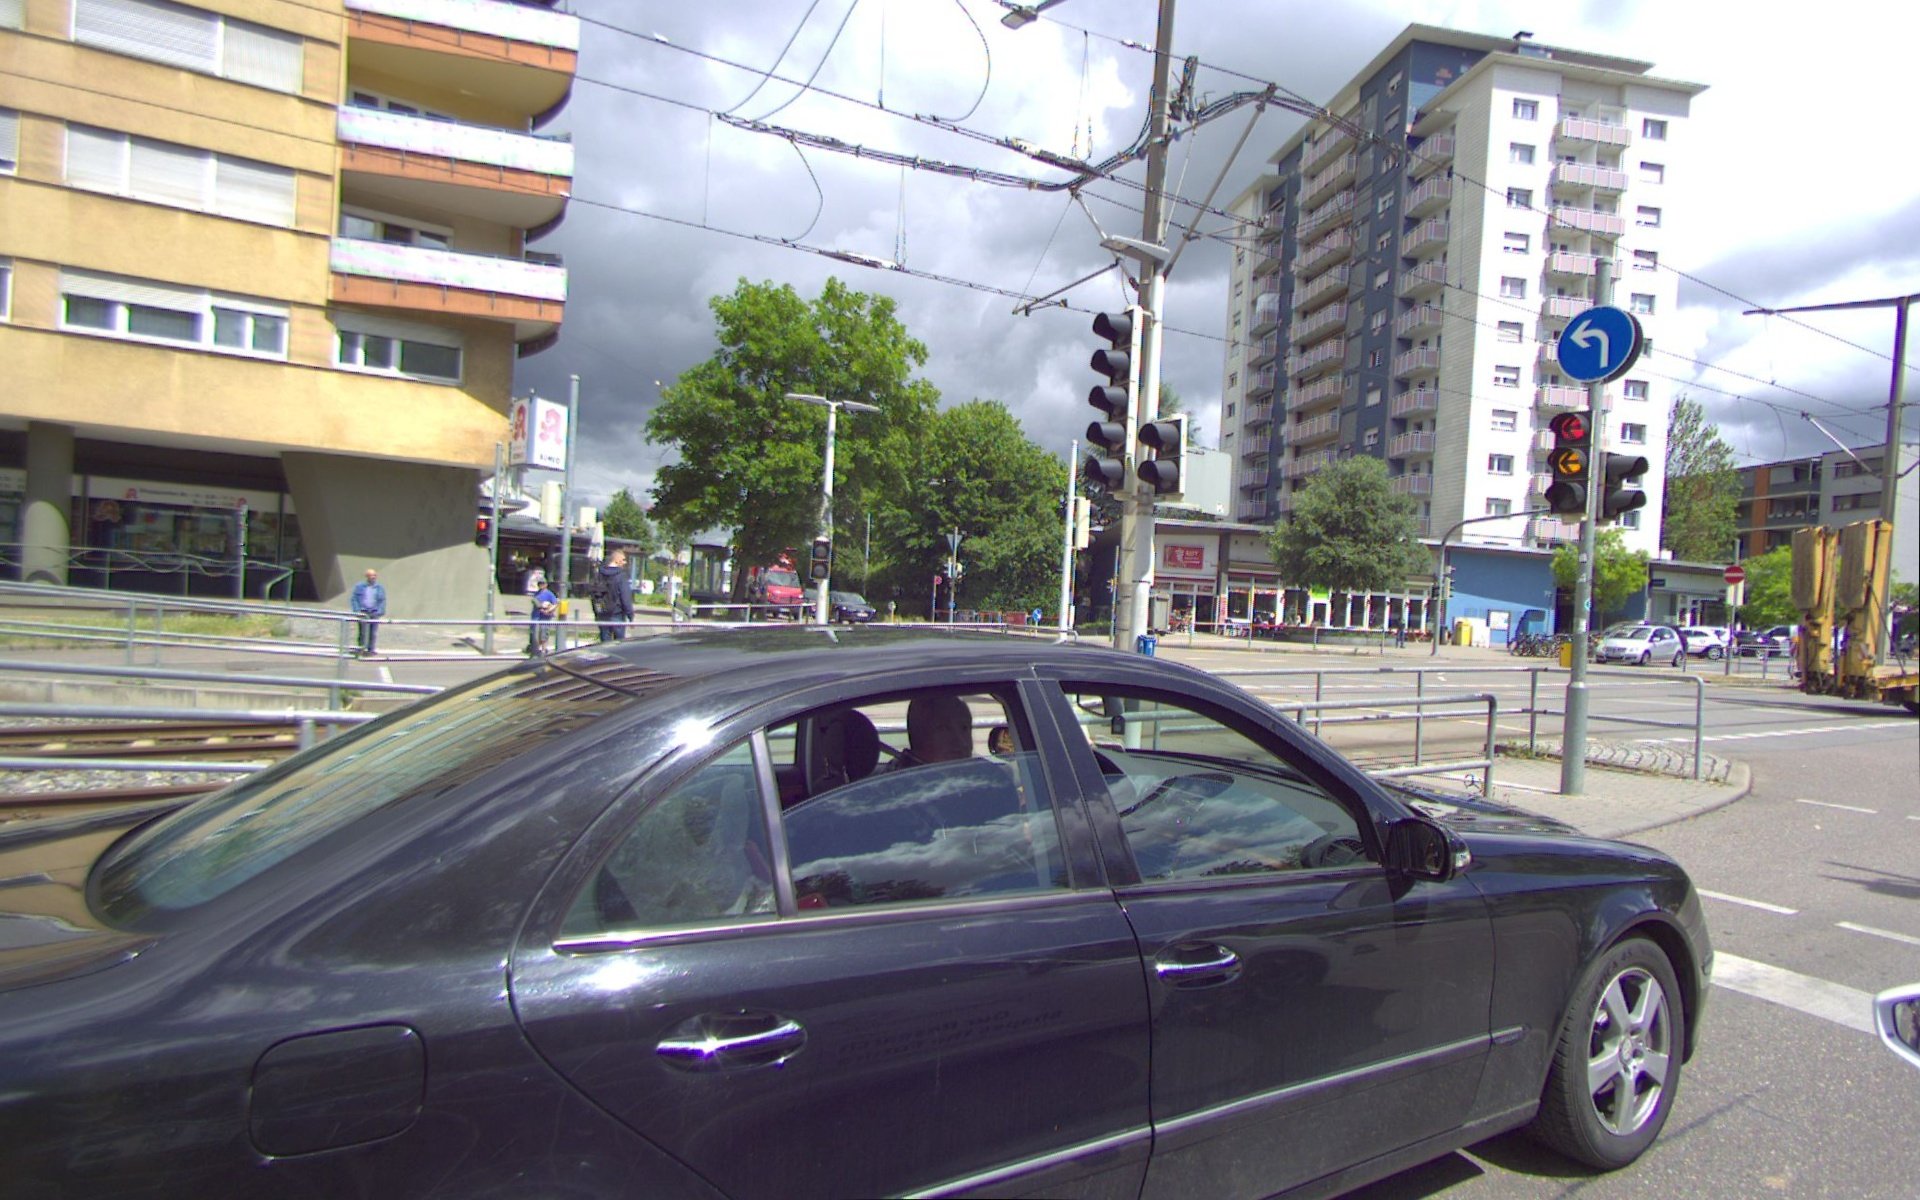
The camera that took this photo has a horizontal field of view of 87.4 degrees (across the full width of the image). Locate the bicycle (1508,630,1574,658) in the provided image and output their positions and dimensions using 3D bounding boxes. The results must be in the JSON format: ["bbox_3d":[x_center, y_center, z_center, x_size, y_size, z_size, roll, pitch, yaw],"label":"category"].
[{"bbox_3d":[24.756,1.871,42.845,0.697,1.080,2.415,2,0,-30],"label":"bicycle"}]

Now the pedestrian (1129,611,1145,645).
[{"bbox_3d":[7.835,1.224,44.551,0.516,1.492,0.572,2,0,-5],"label":"pedestrian"}]

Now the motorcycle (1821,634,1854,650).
[{"bbox_3d":[71.005,3.415,81.277,0.734,1.194,1.880,2,0,-34],"label":"motorcycle"}]

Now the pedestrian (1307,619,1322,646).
[{"bbox_3d":[20.130,1.831,57.082,0.565,1.492,0.522,2,0,-29],"label":"pedestrian"}]

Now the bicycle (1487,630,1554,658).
[{"bbox_3d":[23.424,1.827,42.025,0.697,1.080,2.415,2,0,-30],"label":"bicycle"}]

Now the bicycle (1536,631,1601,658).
[{"bbox_3d":[26.724,1.936,44.162,0.697,1.080,2.415,2,0,-30],"label":"bicycle"}]

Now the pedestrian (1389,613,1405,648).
[{"bbox_3d":[20.948,1.476,48.124,0.594,1.665,0.414,2,0,-34],"label":"pedestrian"}]

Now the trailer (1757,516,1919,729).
[{"bbox_3d":[21.951,0.542,18.158,11.380,3.823,3.061,2,0,18],"label":"trailer"}]

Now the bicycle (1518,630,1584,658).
[{"bbox_3d":[25.478,1.895,43.336,0.697,1.080,2.415,2,0,-30],"label":"bicycle"}]

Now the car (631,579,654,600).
[{"bbox_3d":[-34.134,-1.101,108.048,1.971,2.124,4.712,2,0,-22],"label":"car"}]

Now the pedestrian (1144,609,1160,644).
[{"bbox_3d":[8.407,1.146,43.955,0.516,1.492,0.518,2,0,-5],"label":"pedestrian"}]

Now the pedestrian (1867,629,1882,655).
[{"bbox_3d":[65.634,3.010,72.075,0.834,1.816,0.607,2,0,-33],"label":"pedestrian"}]

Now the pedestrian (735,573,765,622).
[{"bbox_3d":[-8.015,-0.108,38.325,0.873,1.835,0.641,2,0,33],"label":"pedestrian"}]

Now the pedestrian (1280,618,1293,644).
[{"bbox_3d":[18.964,1.801,58.428,0.516,1.492,0.572,2,0,-2],"label":"pedestrian"}]

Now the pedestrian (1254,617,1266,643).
[{"bbox_3d":[17.347,1.731,58.120,0.515,1.492,0.572,2,0,1],"label":"pedestrian"}]

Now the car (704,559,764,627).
[{"bbox_3d":[-11.977,-0.365,52.969,1.971,3.343,6.270,2,0,-22],"label":"car"}]

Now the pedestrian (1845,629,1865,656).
[{"bbox_3d":[57.637,2.717,64.711,0.830,1.672,0.610,3,1,38],"label":"pedestrian"}]

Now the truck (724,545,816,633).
[{"bbox_3d":[-8.926,-0.492,46.502,2.512,3.723,7.057,2,0,-24],"label":"truck"}]

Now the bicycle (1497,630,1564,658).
[{"bbox_3d":[24.082,1.848,42.434,0.697,1.080,2.415,2,0,-30],"label":"bicycle"}]

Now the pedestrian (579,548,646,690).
[{"bbox_3d":[-5.012,0.271,14.494,0.840,1.960,0.917,2,0,-20],"label":"pedestrian"}]

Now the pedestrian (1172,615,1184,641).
[{"bbox_3d":[12.667,1.611,58.294,0.515,1.492,0.572,2,0,1],"label":"pedestrian"}]

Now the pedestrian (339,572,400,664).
[{"bbox_3d":[-11.046,0.327,18.788,0.902,1.619,0.714,2,5,-34],"label":"pedestrian"}]

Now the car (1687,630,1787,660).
[{"bbox_3d":[42.628,2.452,55.203,3.920,1.402,1.907,2,0,17],"label":"car"}]

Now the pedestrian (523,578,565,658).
[{"bbox_3d":[-8.443,0.365,20.371,0.641,1.534,0.715,2,6,-30],"label":"pedestrian"}]

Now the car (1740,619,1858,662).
[{"bbox_3d":[47.014,2.249,56.417,4.666,2.185,1.907,2,0,17],"label":"car"}]

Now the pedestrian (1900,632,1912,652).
[{"bbox_3d":[69.886,3.104,74.211,0.490,1.479,0.559,2,0,30],"label":"pedestrian"}]

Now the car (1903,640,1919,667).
[{"bbox_3d":[63.937,3.538,66.025,4.058,1.685,1.980,2,2,-35],"label":"car"}]

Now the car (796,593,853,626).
[{"bbox_3d":[-7.022,0.466,51.804,1.971,1.623,3.979,2,0,-22],"label":"car"}]

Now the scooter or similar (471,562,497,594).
[{"bbox_3d":[-16.736,-0.765,35.306,0.540,1.108,1.736,2,0,-34],"label":"scooter or similar"}]

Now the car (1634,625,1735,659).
[{"bbox_3d":[38.638,2.218,53.643,3.919,1.654,1.907,2,0,12],"label":"car"}]

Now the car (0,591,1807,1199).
[{"bbox_3d":[0.021,0.760,2.702,4.619,1.417,1.962,2,0,-29],"label":"car"}]

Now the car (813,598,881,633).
[{"bbox_3d":[-5.249,0.686,46.178,1.972,1.514,3.976,2,0,-24],"label":"car"}]

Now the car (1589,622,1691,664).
[{"bbox_3d":[26.900,1.707,39.718,3.708,1.553,1.811,2,0,-28],"label":"car"}]

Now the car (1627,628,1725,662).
[{"bbox_3d":[36.786,2.298,51.691,3.691,1.516,1.747,2,0,18],"label":"car"}]

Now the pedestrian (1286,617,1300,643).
[{"bbox_3d":[18.898,1.703,56.999,0.565,1.492,0.522,2,0,-29],"label":"pedestrian"}]

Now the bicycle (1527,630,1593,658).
[{"bbox_3d":[26.108,1.916,43.747,0.697,1.080,2.415,2,0,-30],"label":"bicycle"}]
